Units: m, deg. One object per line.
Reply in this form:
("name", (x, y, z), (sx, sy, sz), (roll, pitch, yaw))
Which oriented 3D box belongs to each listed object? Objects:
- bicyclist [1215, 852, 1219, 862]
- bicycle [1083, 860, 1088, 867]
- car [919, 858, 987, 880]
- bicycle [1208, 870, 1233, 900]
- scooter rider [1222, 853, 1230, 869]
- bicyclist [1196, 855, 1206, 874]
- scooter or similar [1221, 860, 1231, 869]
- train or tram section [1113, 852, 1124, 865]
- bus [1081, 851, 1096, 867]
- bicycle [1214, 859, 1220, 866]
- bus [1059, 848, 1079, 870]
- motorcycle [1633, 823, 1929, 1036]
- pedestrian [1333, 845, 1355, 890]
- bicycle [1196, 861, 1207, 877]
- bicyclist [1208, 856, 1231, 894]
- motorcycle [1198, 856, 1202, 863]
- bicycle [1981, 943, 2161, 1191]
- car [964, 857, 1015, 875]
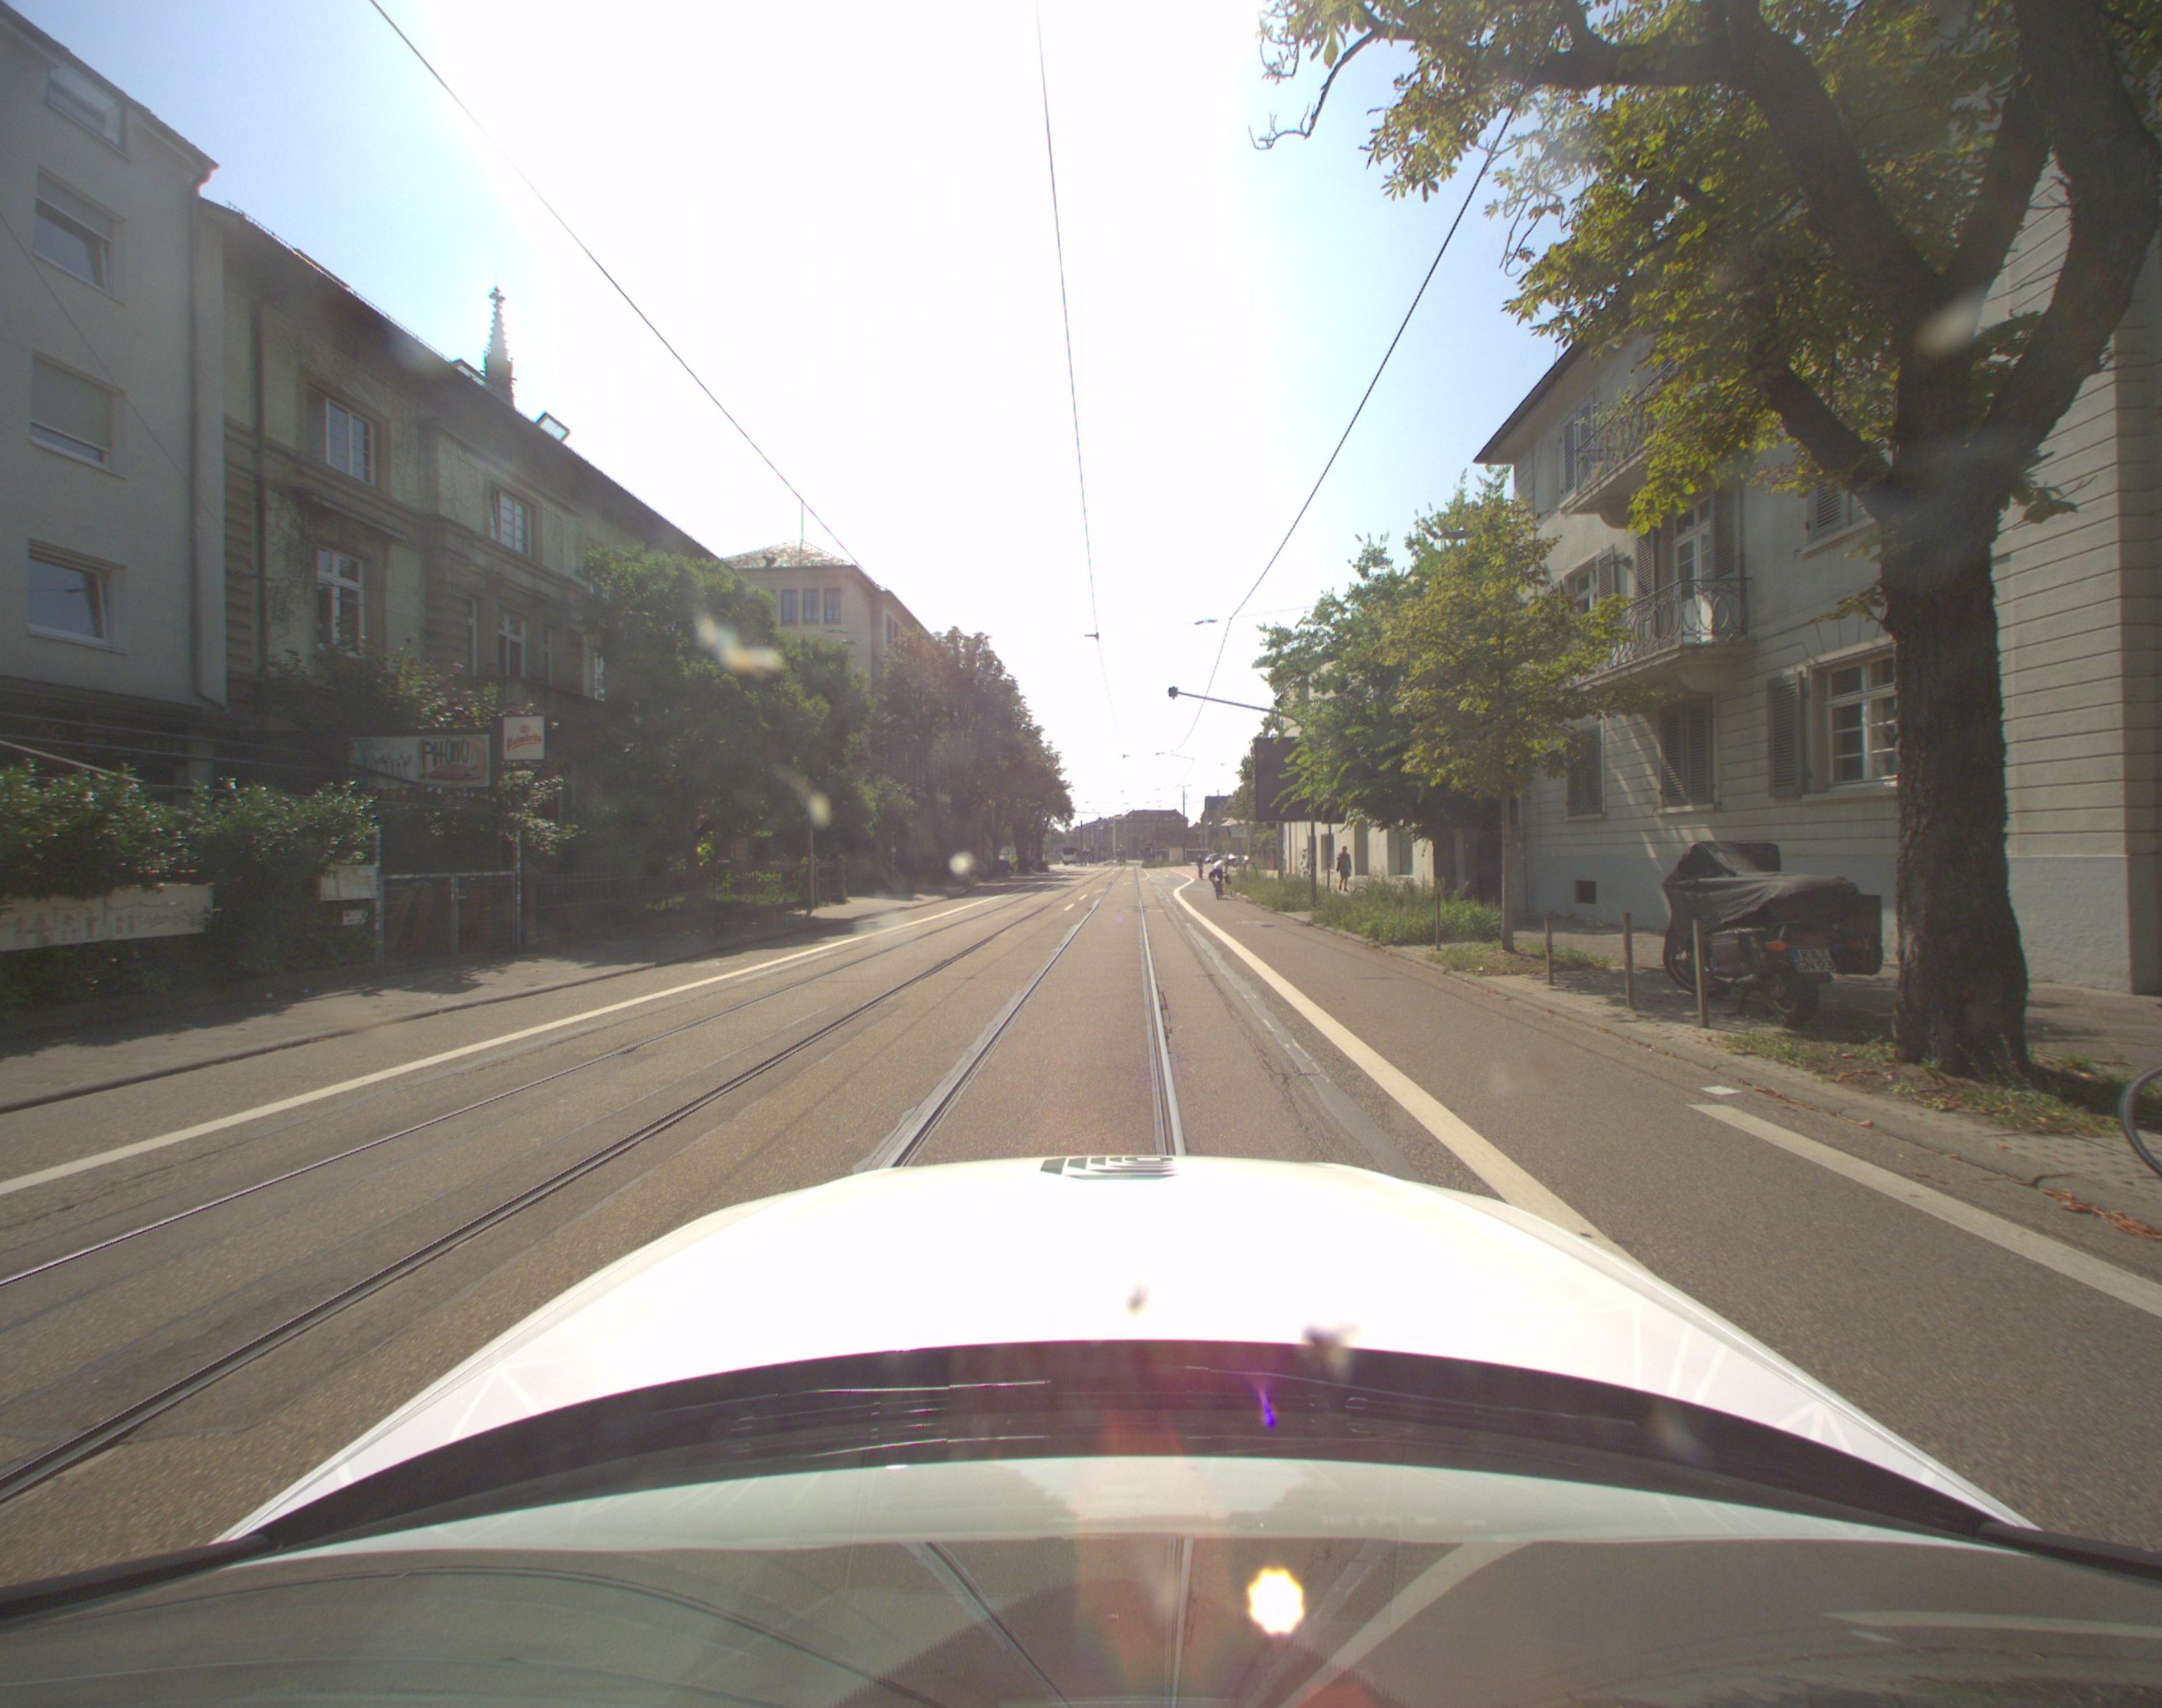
("bicyclist", (20.236, 0.408, 121.188), (0.445, 1.421, 0.499), (-2, -1, 32))
("bicycle", (0.776, 1.582, 135.078), (0.604, 1.223, 1.709), (-1, 0, 8))
("car", (-8.963, 1.042, 56.915), (4.434, 1.462, 1.807), (0, 0, -24))
("bicycle", (5.333, 1.177, 31.267), (0.736, 1.049, 2.235), (-1, 0, 4))
("scooter rider", (15.941, 0.766, 89.356), (0.755, 1.775, 0.558), (-1, -1, 20))
("bicyclist", (8.700, 0.753, 59.006), (0.600, 1.335, 0.660), (-1, -1, 3))
("scooter or similar", (15.898, 1.185, 89.268), (0.765, 0.926, 1.629), (0, 0, 21))
("train or tram section", (10.833, 1.332, 233.398), (2.844, 3.548, 17.757), (0, 0, 3))
("bus", (1.809, 1.262, 193.602), (2.696, 3.727, 10.433), (0, -1, 5))
("bicycle", (20.207, 1.279, 121.079), (0.440, 1.117, 1.455), (-2, -1, 32))
("bus", (-2.137, 0.900, 148.630), (2.945, 3.775, 10.604), (0, -1, 3))
("motorcycle", (5.950, 0.565, 7.195), (0.880, 1.553, 2.419), (-2, -1, 11))
("pedestrian", (10.197, 0.508, 31.591), (0.688, 1.732, 0.580), (-1, 0, 5))
("bicycle", (8.717, 1.076, 58.984), (0.601, 1.163, 1.812), (-1, 0, 3))
("bicyclist", (5.315, 0.802, 31.268), (0.741, 1.411, 0.963), (-1, 0, 4))
("motorcycle", (23.056, 1.086, 157.501), (0.599, 1.210, 2.262), (-1, 0, 15))
("bicycle", (5.469, 0.913, 3.654), (1.912, 0.952, 0.722), (-1, -1, 6))
("car", (-8.100, 1.013, 72.146), (4.180, 1.496, 1.802), (-1, 0, -34))
